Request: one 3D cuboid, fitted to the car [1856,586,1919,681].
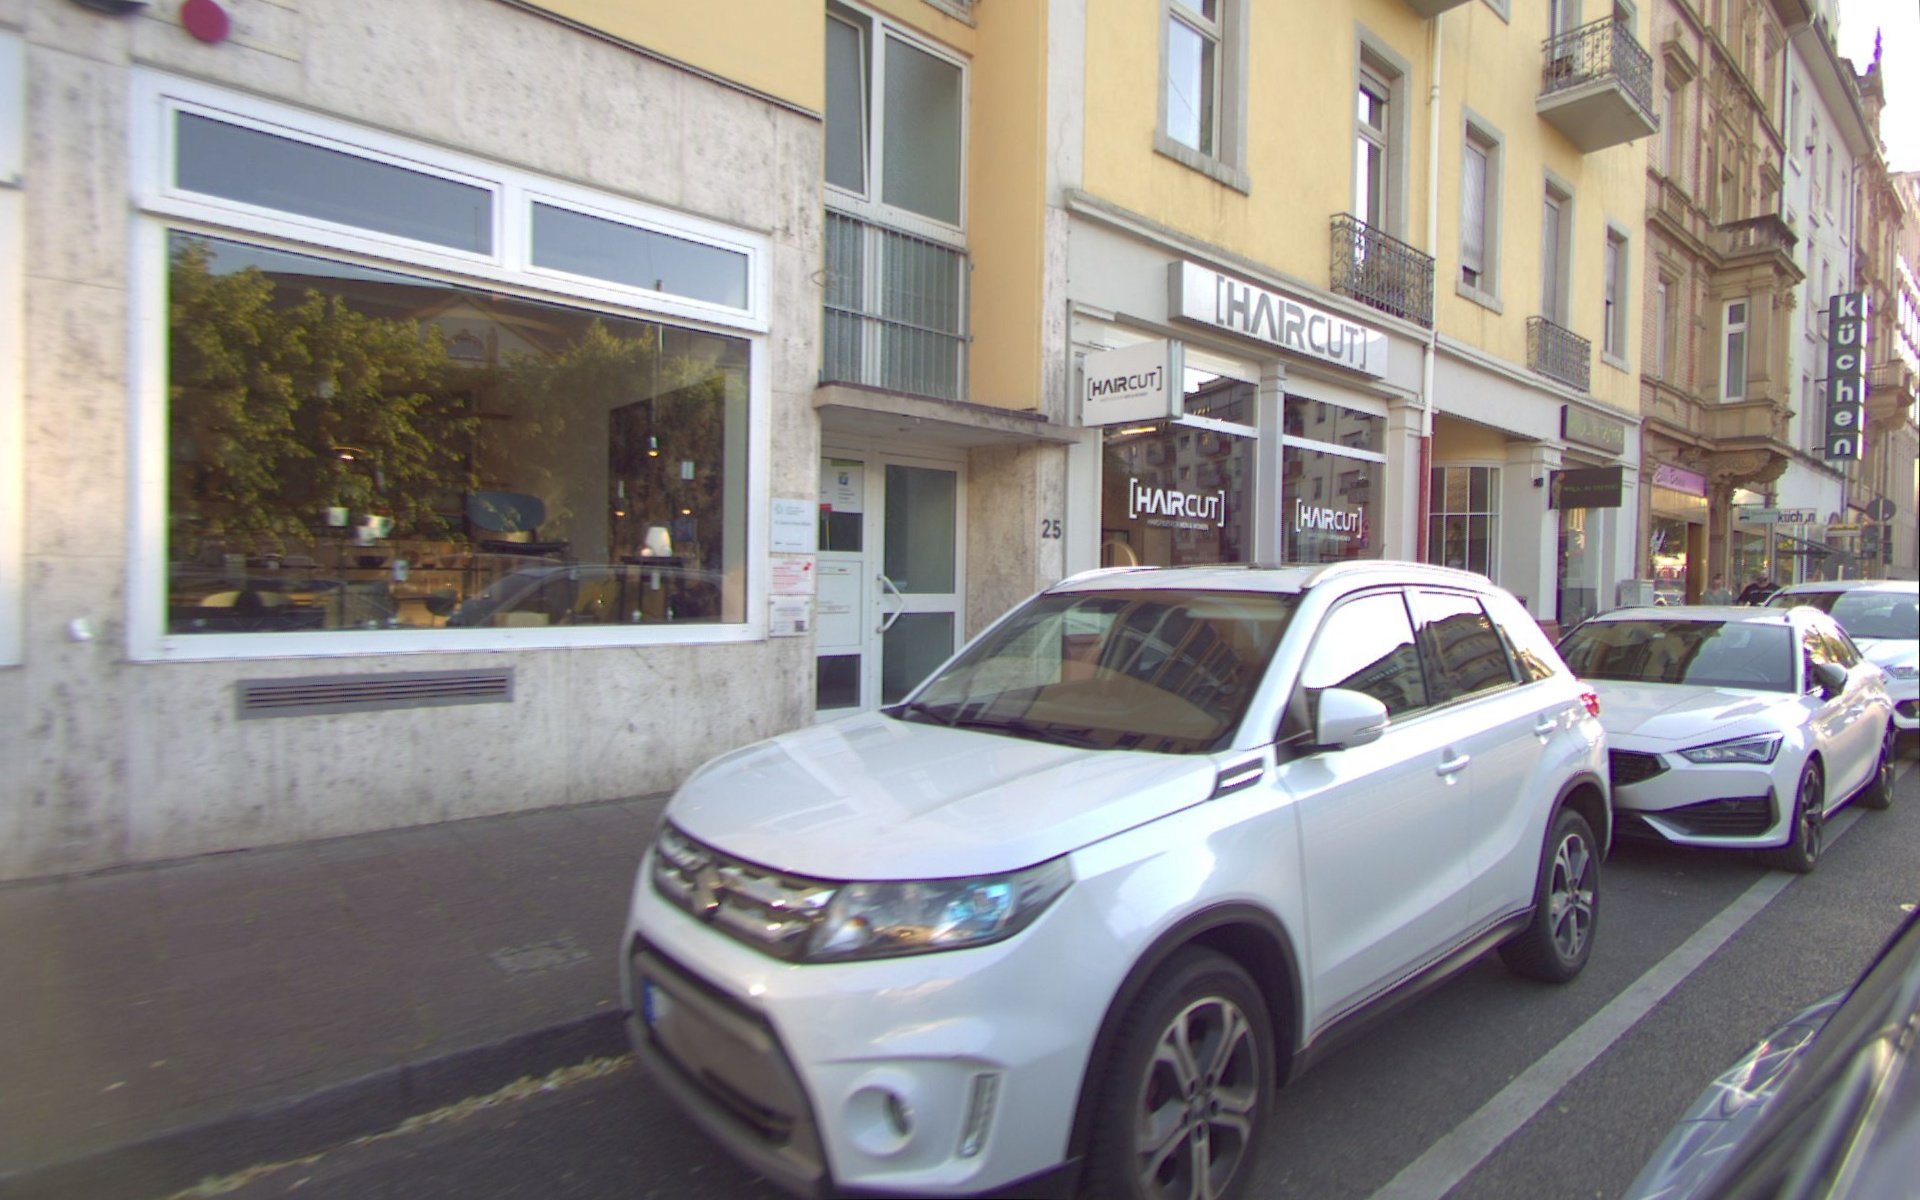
[{"bbox_3d":[17.532,0.557,18.014,4.374,1.559,1.906,0,1,-42],"label":"car"}]

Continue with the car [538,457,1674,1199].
[{"bbox_3d":[0.890,0.567,3.675,4.129,1.641,1.820,0,1,-40],"label":"car"}]

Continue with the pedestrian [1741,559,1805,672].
[{"bbox_3d":[15.121,0.275,18.826,0.836,2.039,0.763,0,0,-40],"label":"pedestrian"}]

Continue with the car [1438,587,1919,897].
[{"bbox_3d":[5.210,0.669,7.000,4.529,1.475,1.737,0,1,-40],"label":"car"}]

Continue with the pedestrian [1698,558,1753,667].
[{"bbox_3d":[14.756,0.228,19.503,0.836,2.039,0.673,0,0,-40],"label":"pedestrian"}]

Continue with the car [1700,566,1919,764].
[{"bbox_3d":[9.499,0.540,10.591,4.352,1.695,1.876,0,1,-40],"label":"car"}]
